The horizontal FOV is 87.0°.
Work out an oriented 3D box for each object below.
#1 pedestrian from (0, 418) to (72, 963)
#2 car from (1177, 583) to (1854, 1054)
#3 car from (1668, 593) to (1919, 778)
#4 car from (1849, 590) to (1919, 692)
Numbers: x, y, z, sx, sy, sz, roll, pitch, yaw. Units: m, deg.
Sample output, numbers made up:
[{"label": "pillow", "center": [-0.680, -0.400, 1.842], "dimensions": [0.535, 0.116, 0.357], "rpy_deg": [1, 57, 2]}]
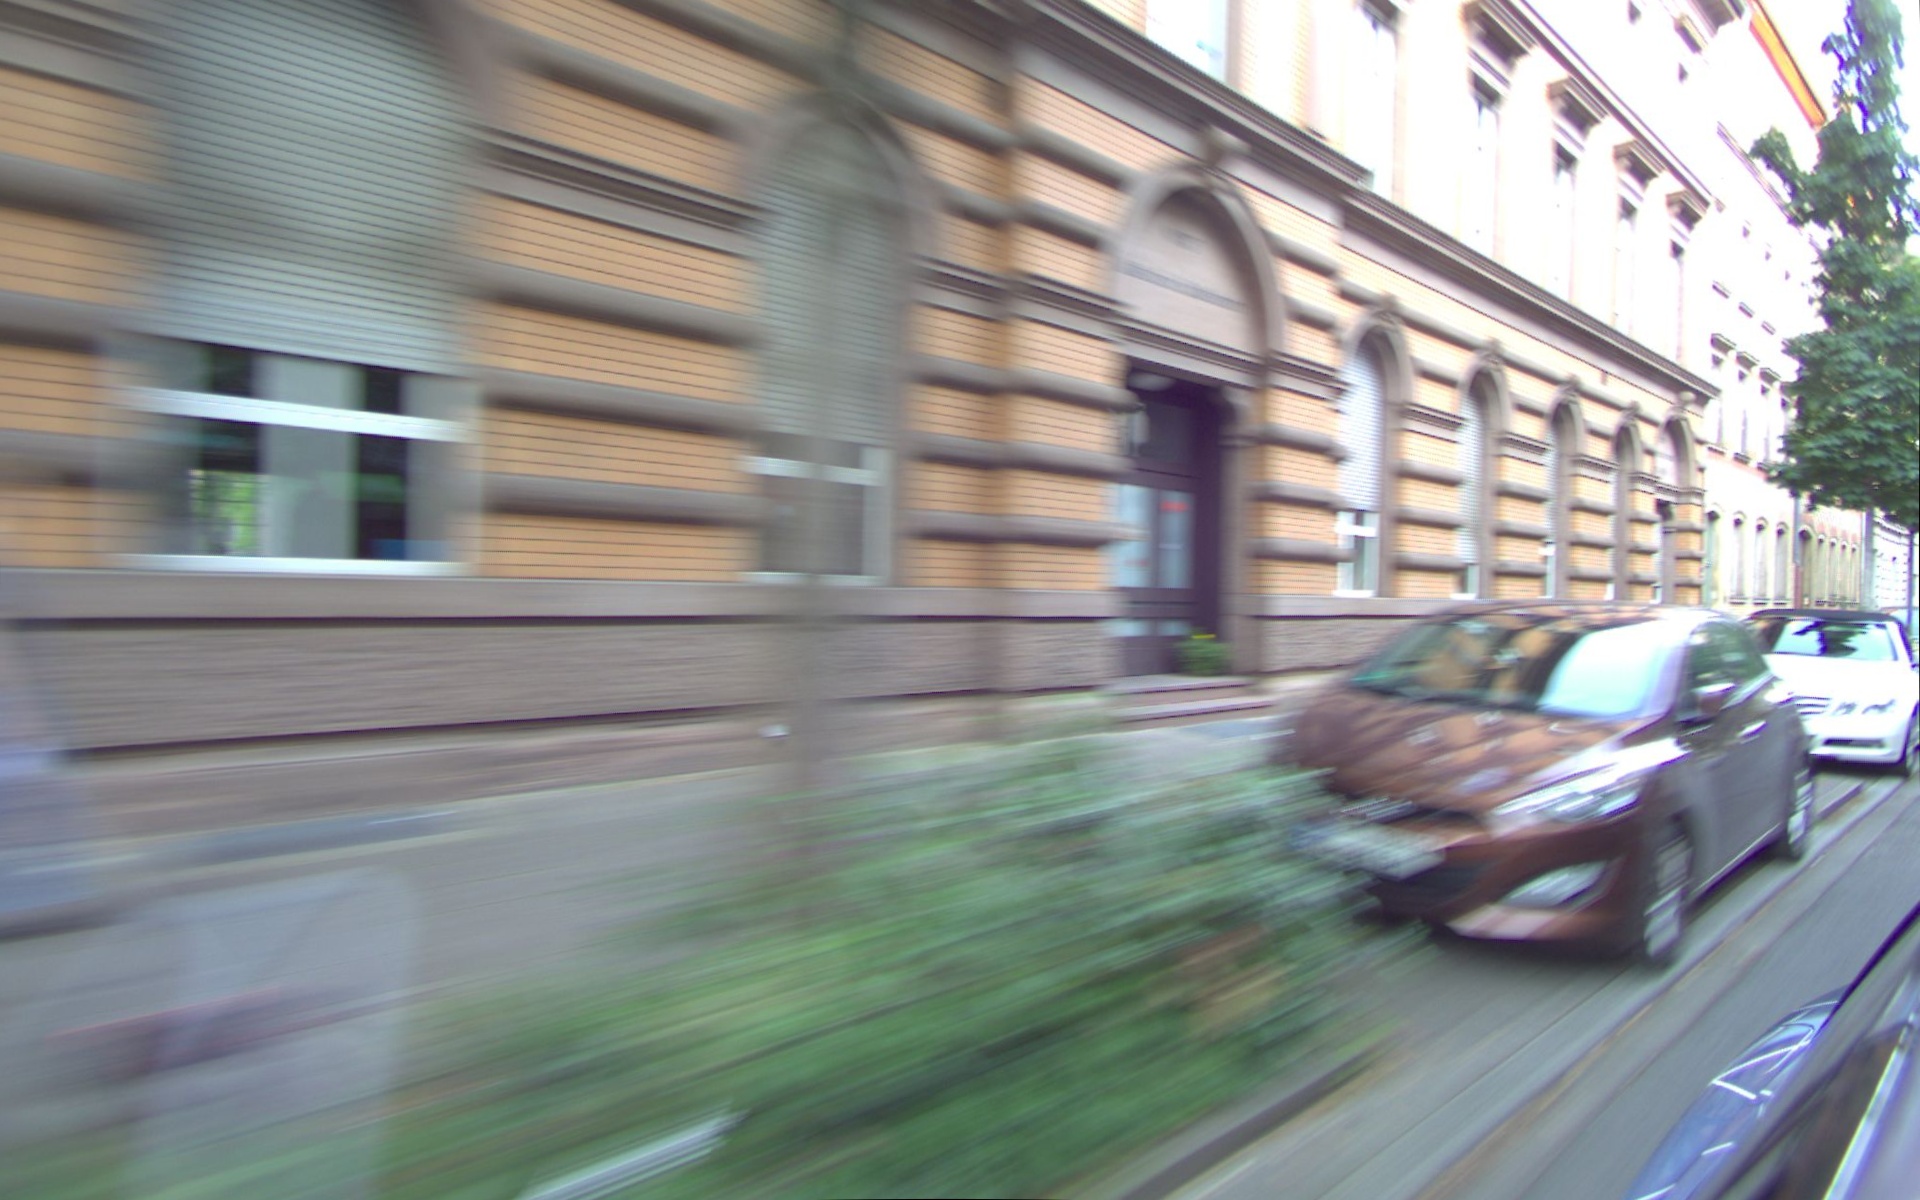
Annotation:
[{"label": "pedestrian", "center": [-3.238, 0.272, 3.263], "dimensions": [0.522, 1.669, 0.628], "rpy_deg": [1, 0, -40]}, {"label": "car", "center": [3.119, 0.690, 5.269], "dimensions": [4.141, 1.467, 1.726], "rpy_deg": [0, 2, -41]}, {"label": "car", "center": [8.874, 0.704, 10.269], "dimensions": [4.565, 1.418, 1.697], "rpy_deg": [1, 2, -41]}, {"label": "car", "center": [15.856, 0.638, 16.362], "dimensions": [4.119, 1.496, 1.714], "rpy_deg": [1, 1, -41]}]
